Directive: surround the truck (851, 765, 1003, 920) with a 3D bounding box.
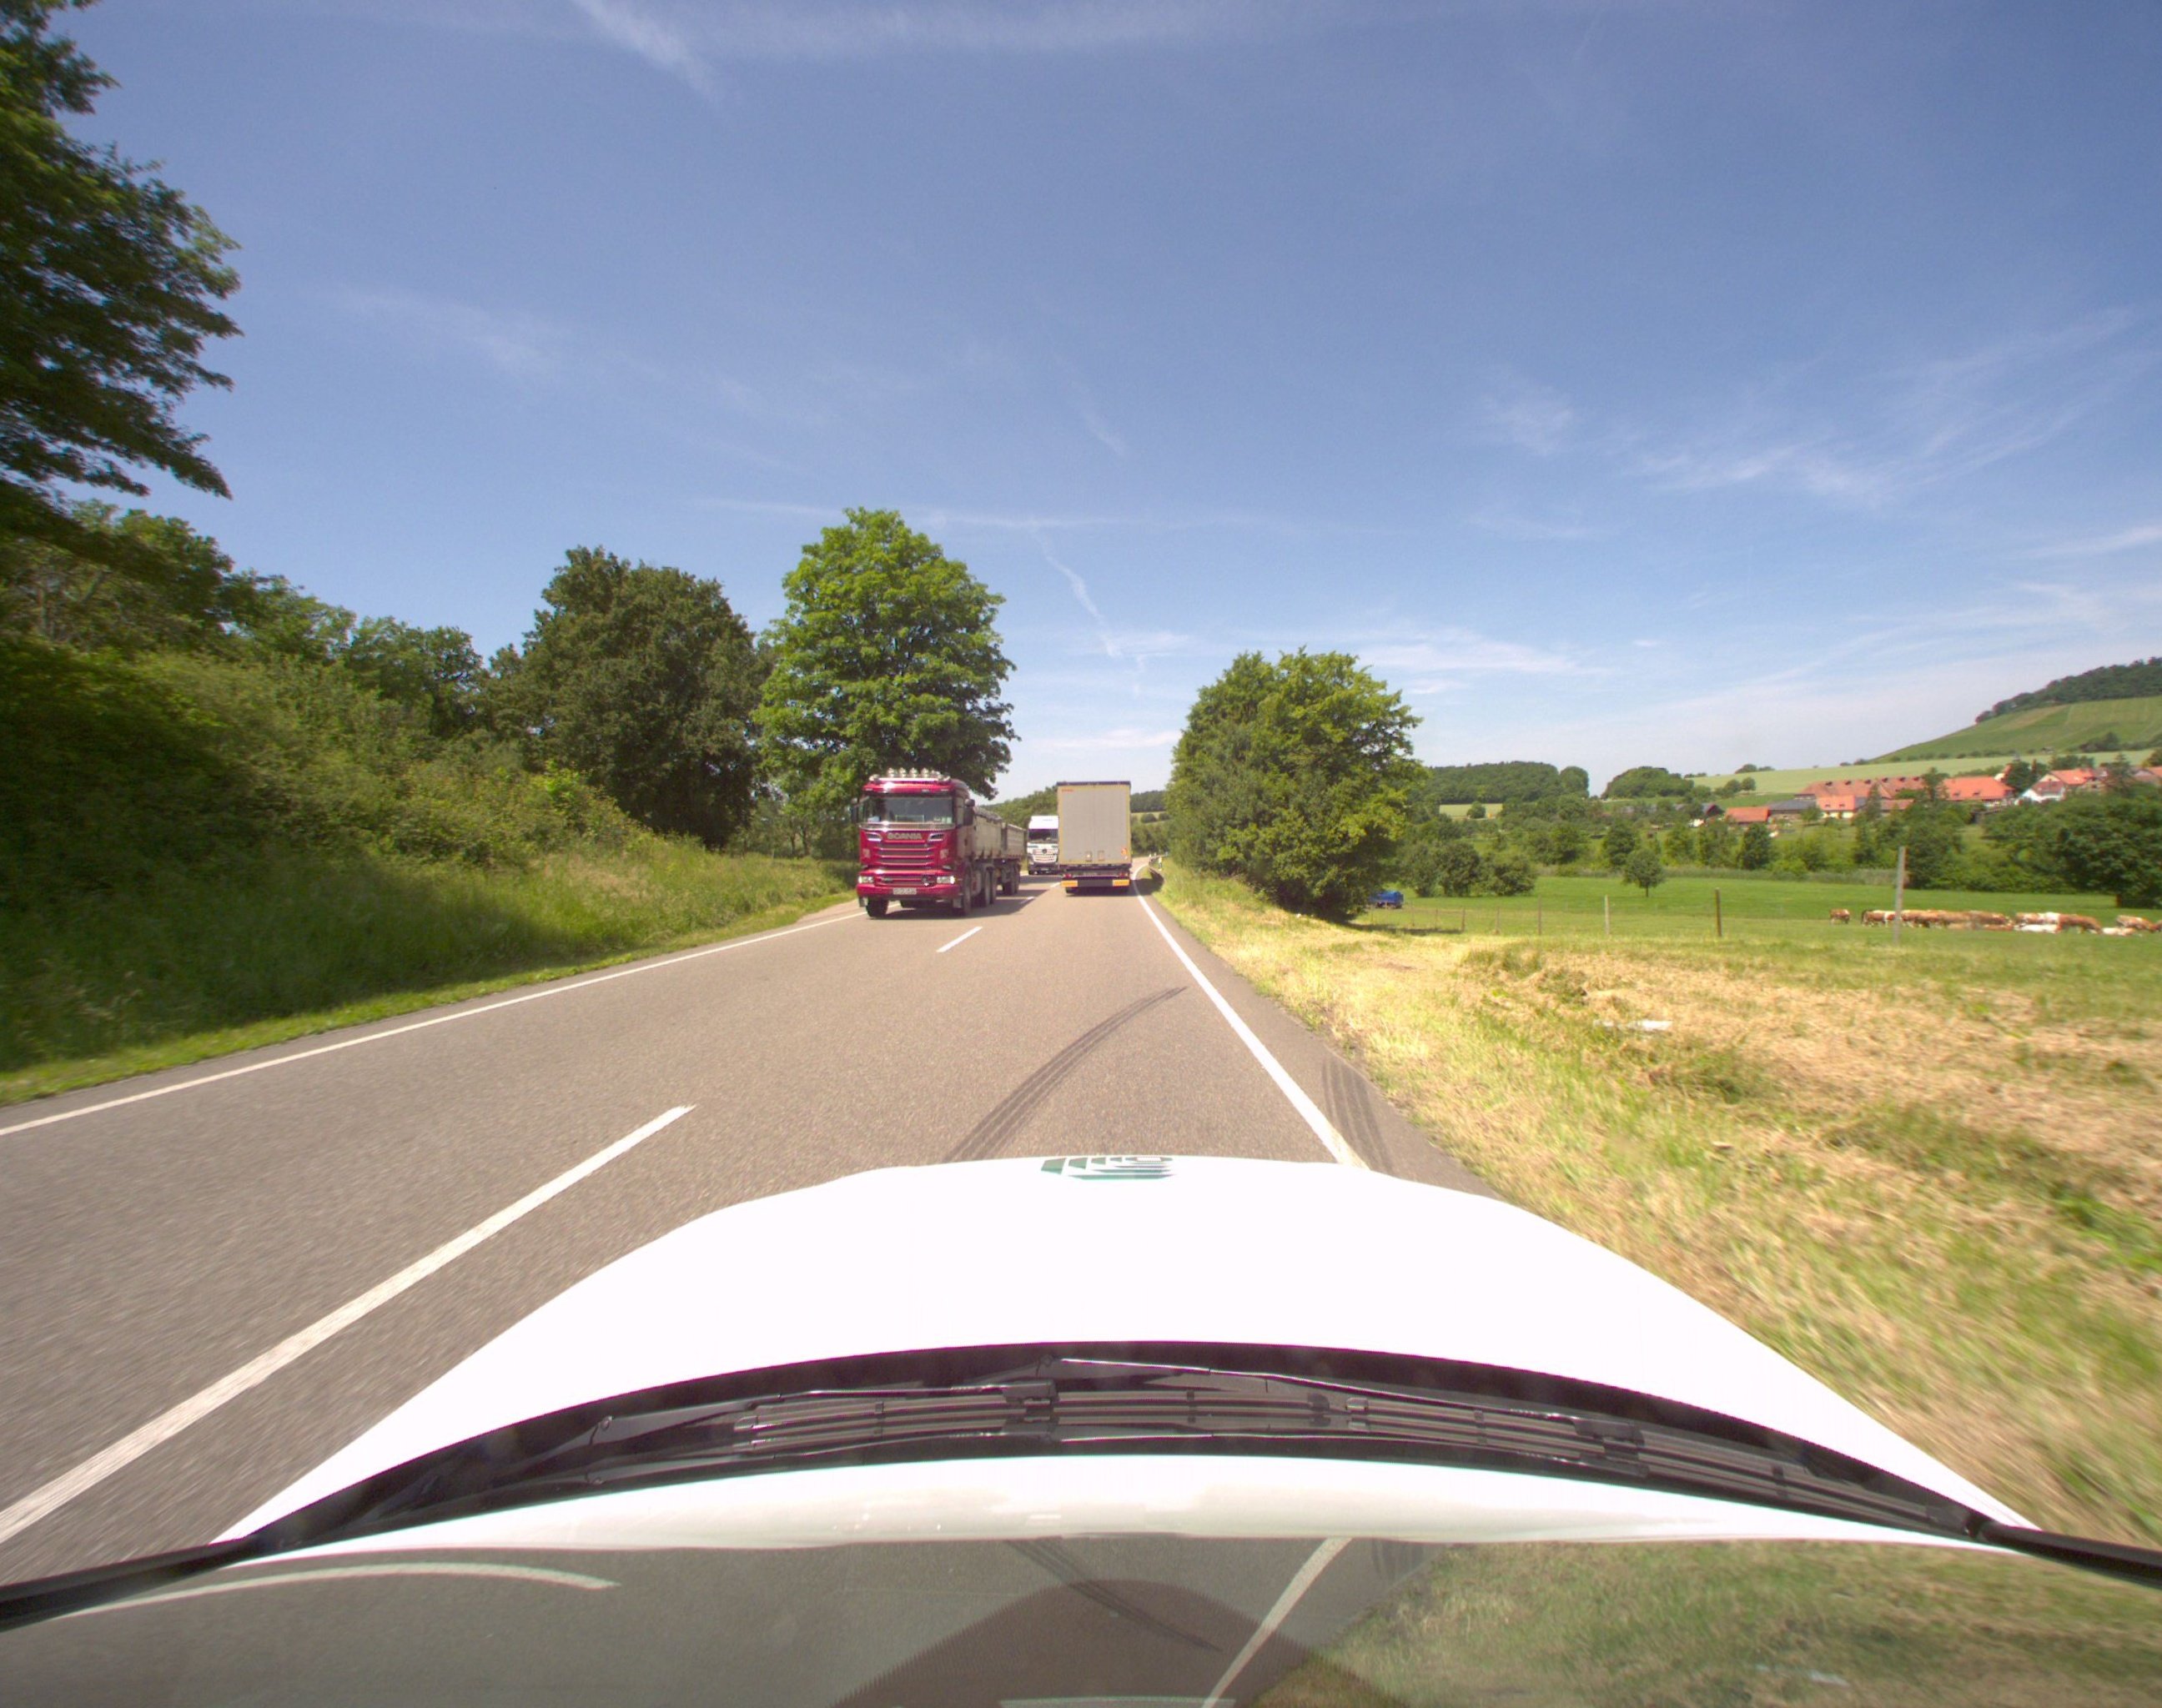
[{"bbox_3d":[-3.945,-0.252,22.784,2.521,3.559,7.764,-1,0,1],"label":"truck"}]

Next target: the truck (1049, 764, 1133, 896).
[{"bbox_3d":[0.609,-0.859,33.870,2.806,4.532,11.775,-1,0,3],"label":"truck"}]

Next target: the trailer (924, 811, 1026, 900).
[{"bbox_3d":[-3.729,0.065,30.266,2.633,2.872,7.079,-1,0,2],"label":"trailer"}]

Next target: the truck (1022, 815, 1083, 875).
[{"bbox_3d":[-1.827,-0.647,61.520,2.548,3.939,16.184,1,0,5],"label":"truck"}]
